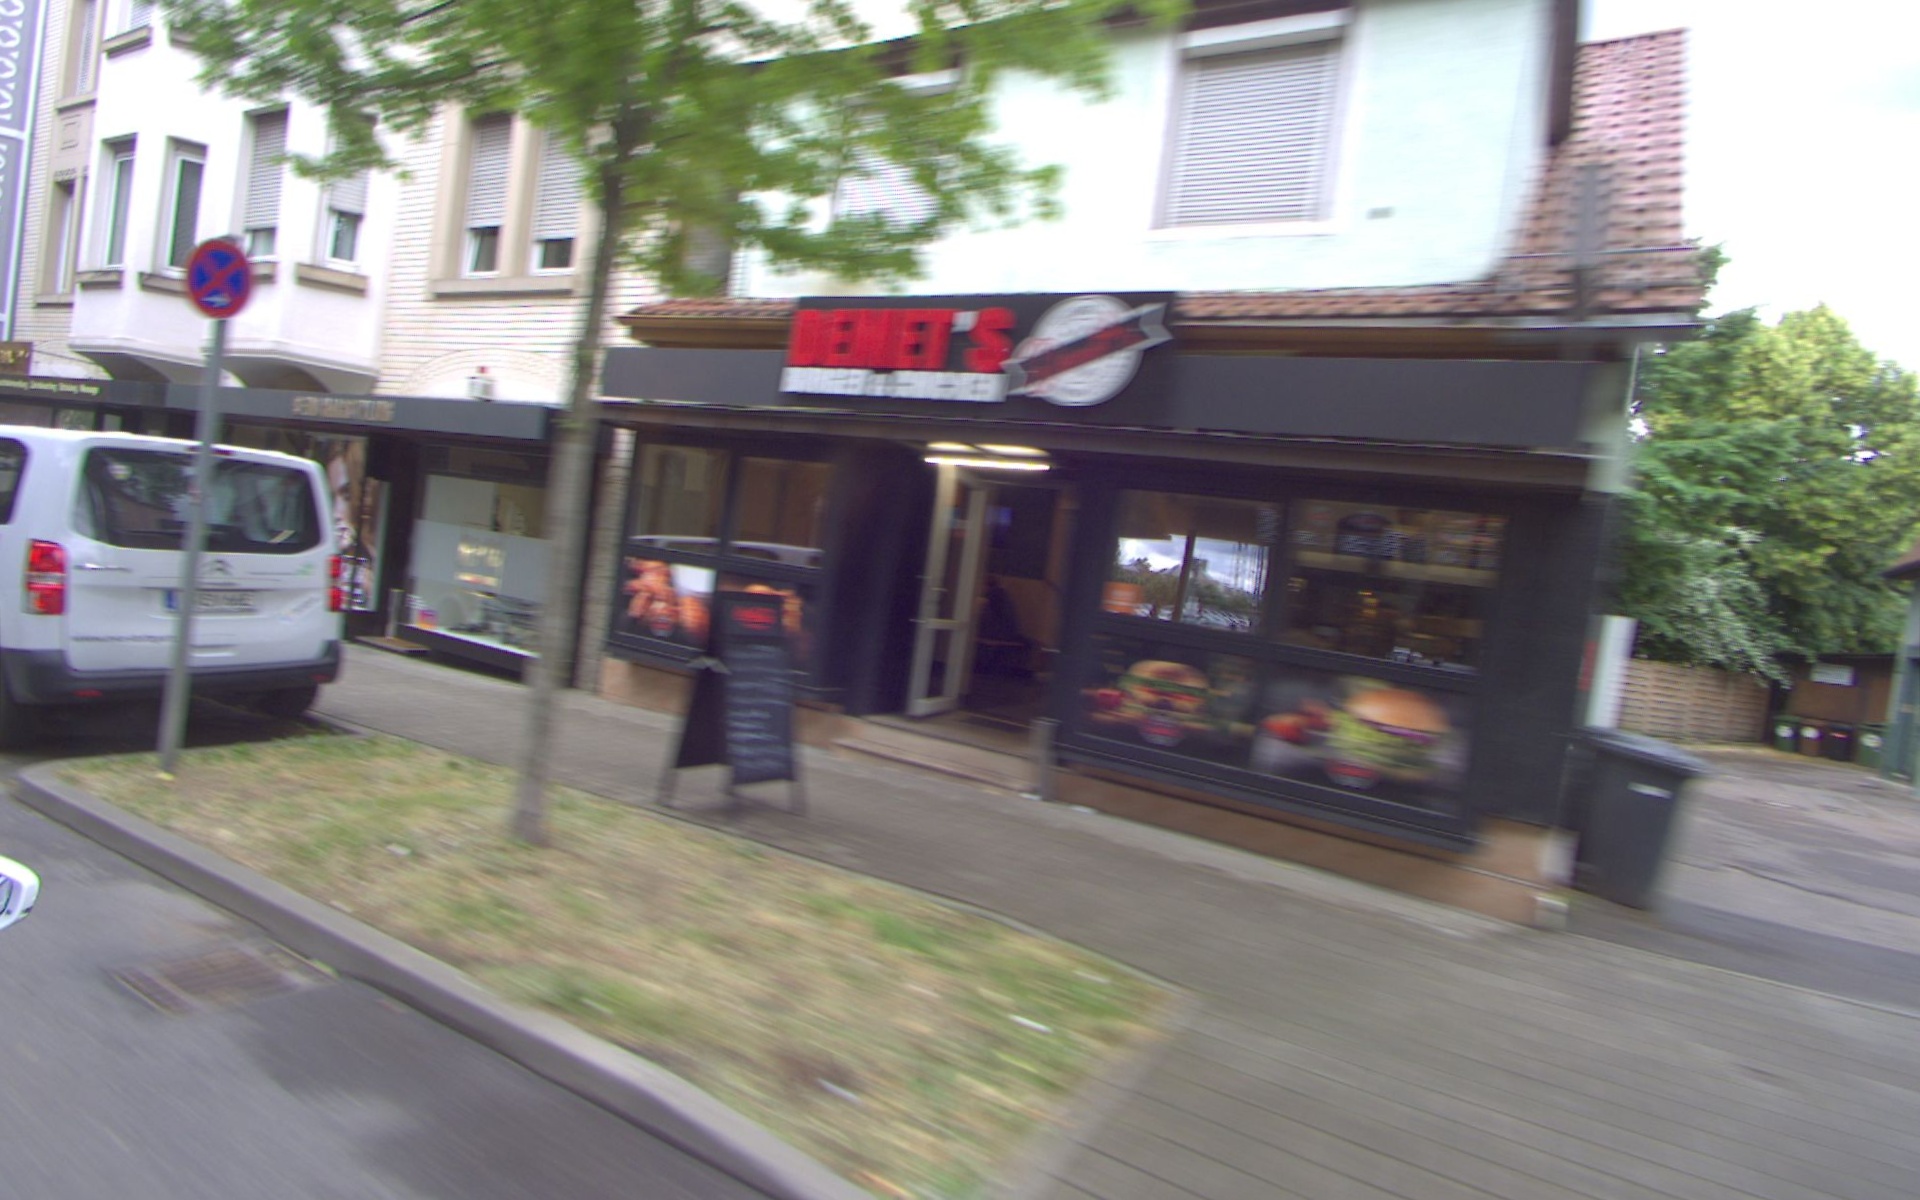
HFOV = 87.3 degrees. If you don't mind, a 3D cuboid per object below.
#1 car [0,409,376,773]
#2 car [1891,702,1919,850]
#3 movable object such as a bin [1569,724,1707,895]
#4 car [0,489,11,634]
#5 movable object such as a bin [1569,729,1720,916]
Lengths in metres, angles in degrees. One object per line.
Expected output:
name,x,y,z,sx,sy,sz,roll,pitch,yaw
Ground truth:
car,-6.768,-0.257,7.352,4.834,1.955,1.909,7,2,27
car,12.643,2.179,9.861,4.775,1.565,1.983,7,0,7
movable object such as a bin,4.901,1.492,7.312,0.672,1.051,0.556,6,1,27
car,-11.559,-0.615,10.224,3.973,1.434,1.685,7,2,30
movable object such as a bin,4.554,1.457,6.740,0.672,1.051,0.556,6,1,27
